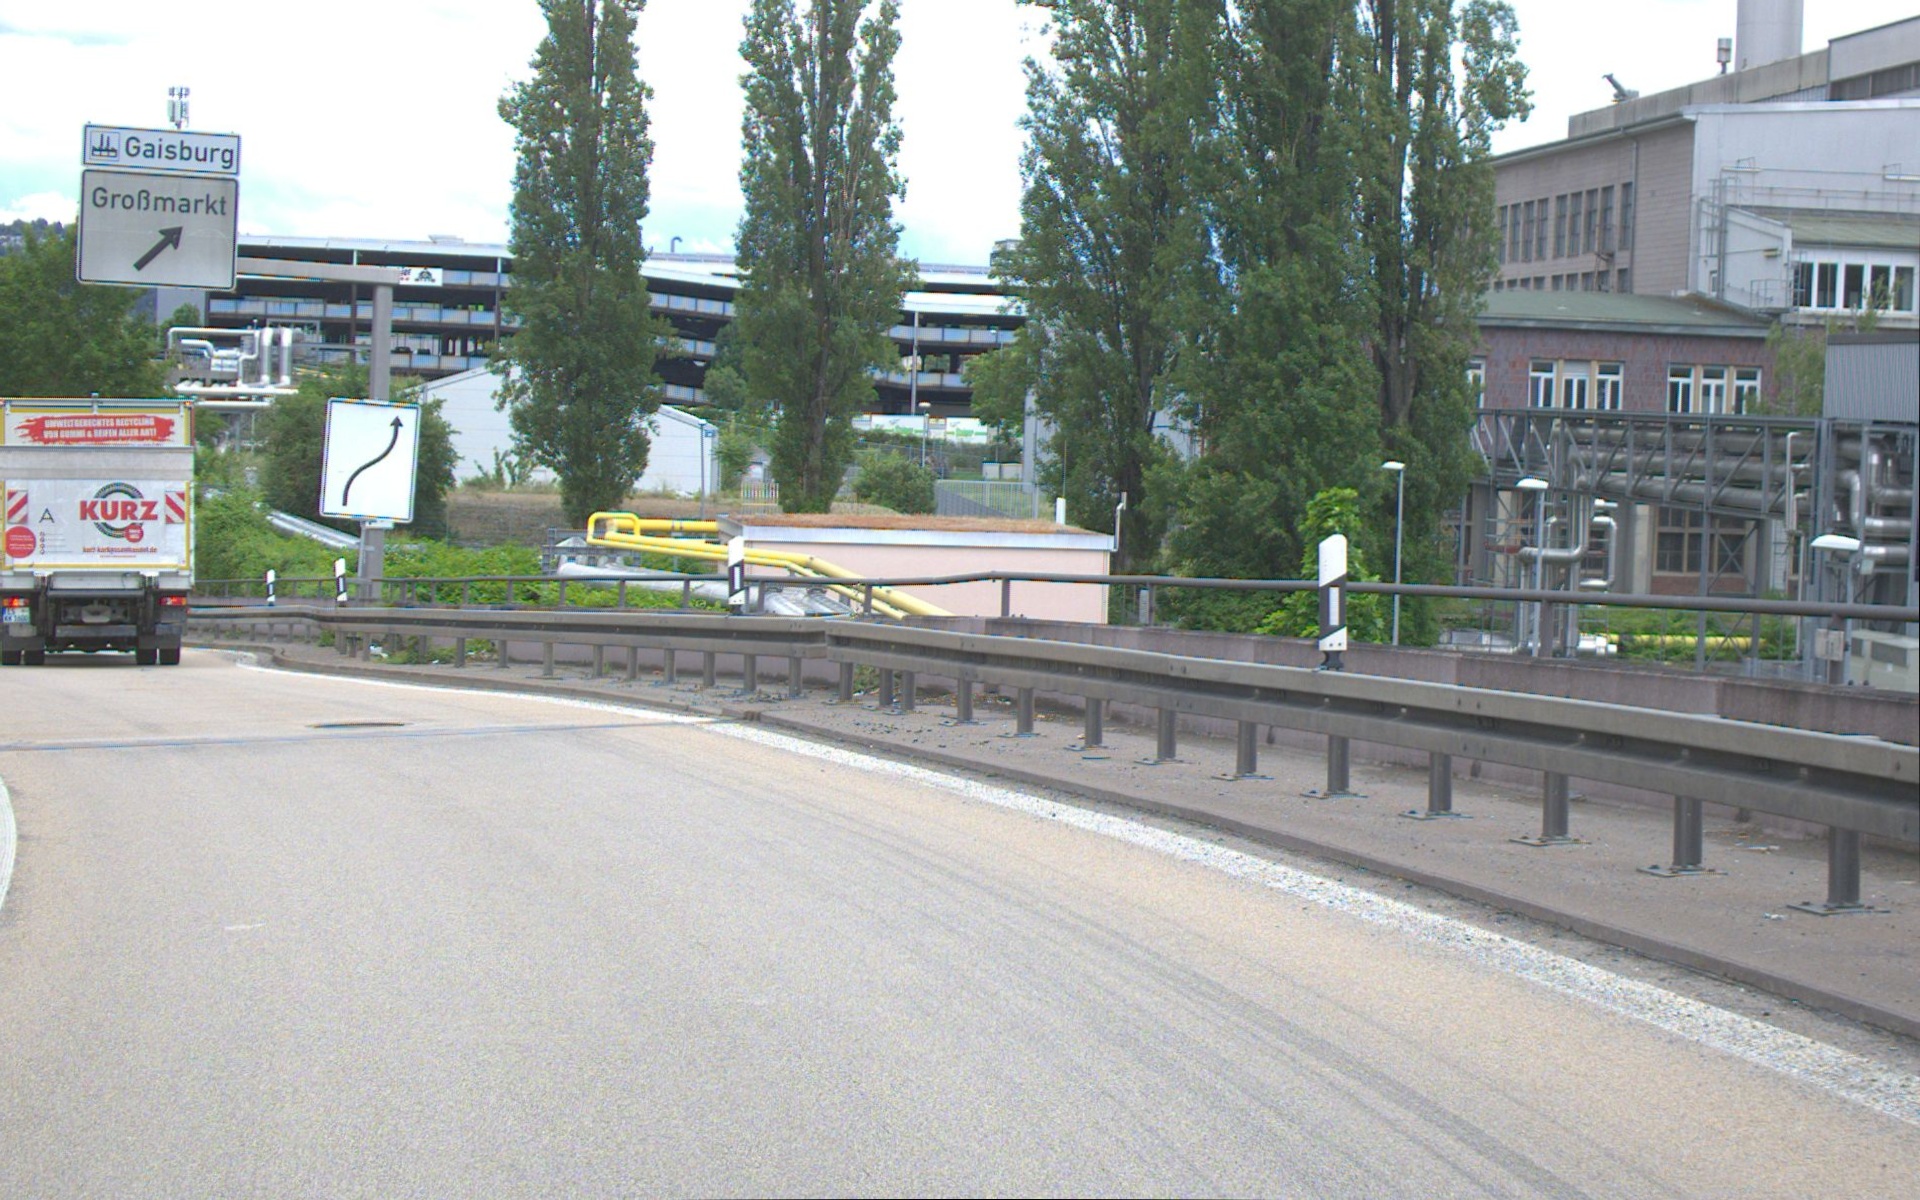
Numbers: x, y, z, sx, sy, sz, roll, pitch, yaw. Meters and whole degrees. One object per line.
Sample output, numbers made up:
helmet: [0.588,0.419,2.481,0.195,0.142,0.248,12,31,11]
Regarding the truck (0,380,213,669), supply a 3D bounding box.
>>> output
truck: [-12.494,-1.029,48.479,3.050,3.660,7.930,2,0,-17]
